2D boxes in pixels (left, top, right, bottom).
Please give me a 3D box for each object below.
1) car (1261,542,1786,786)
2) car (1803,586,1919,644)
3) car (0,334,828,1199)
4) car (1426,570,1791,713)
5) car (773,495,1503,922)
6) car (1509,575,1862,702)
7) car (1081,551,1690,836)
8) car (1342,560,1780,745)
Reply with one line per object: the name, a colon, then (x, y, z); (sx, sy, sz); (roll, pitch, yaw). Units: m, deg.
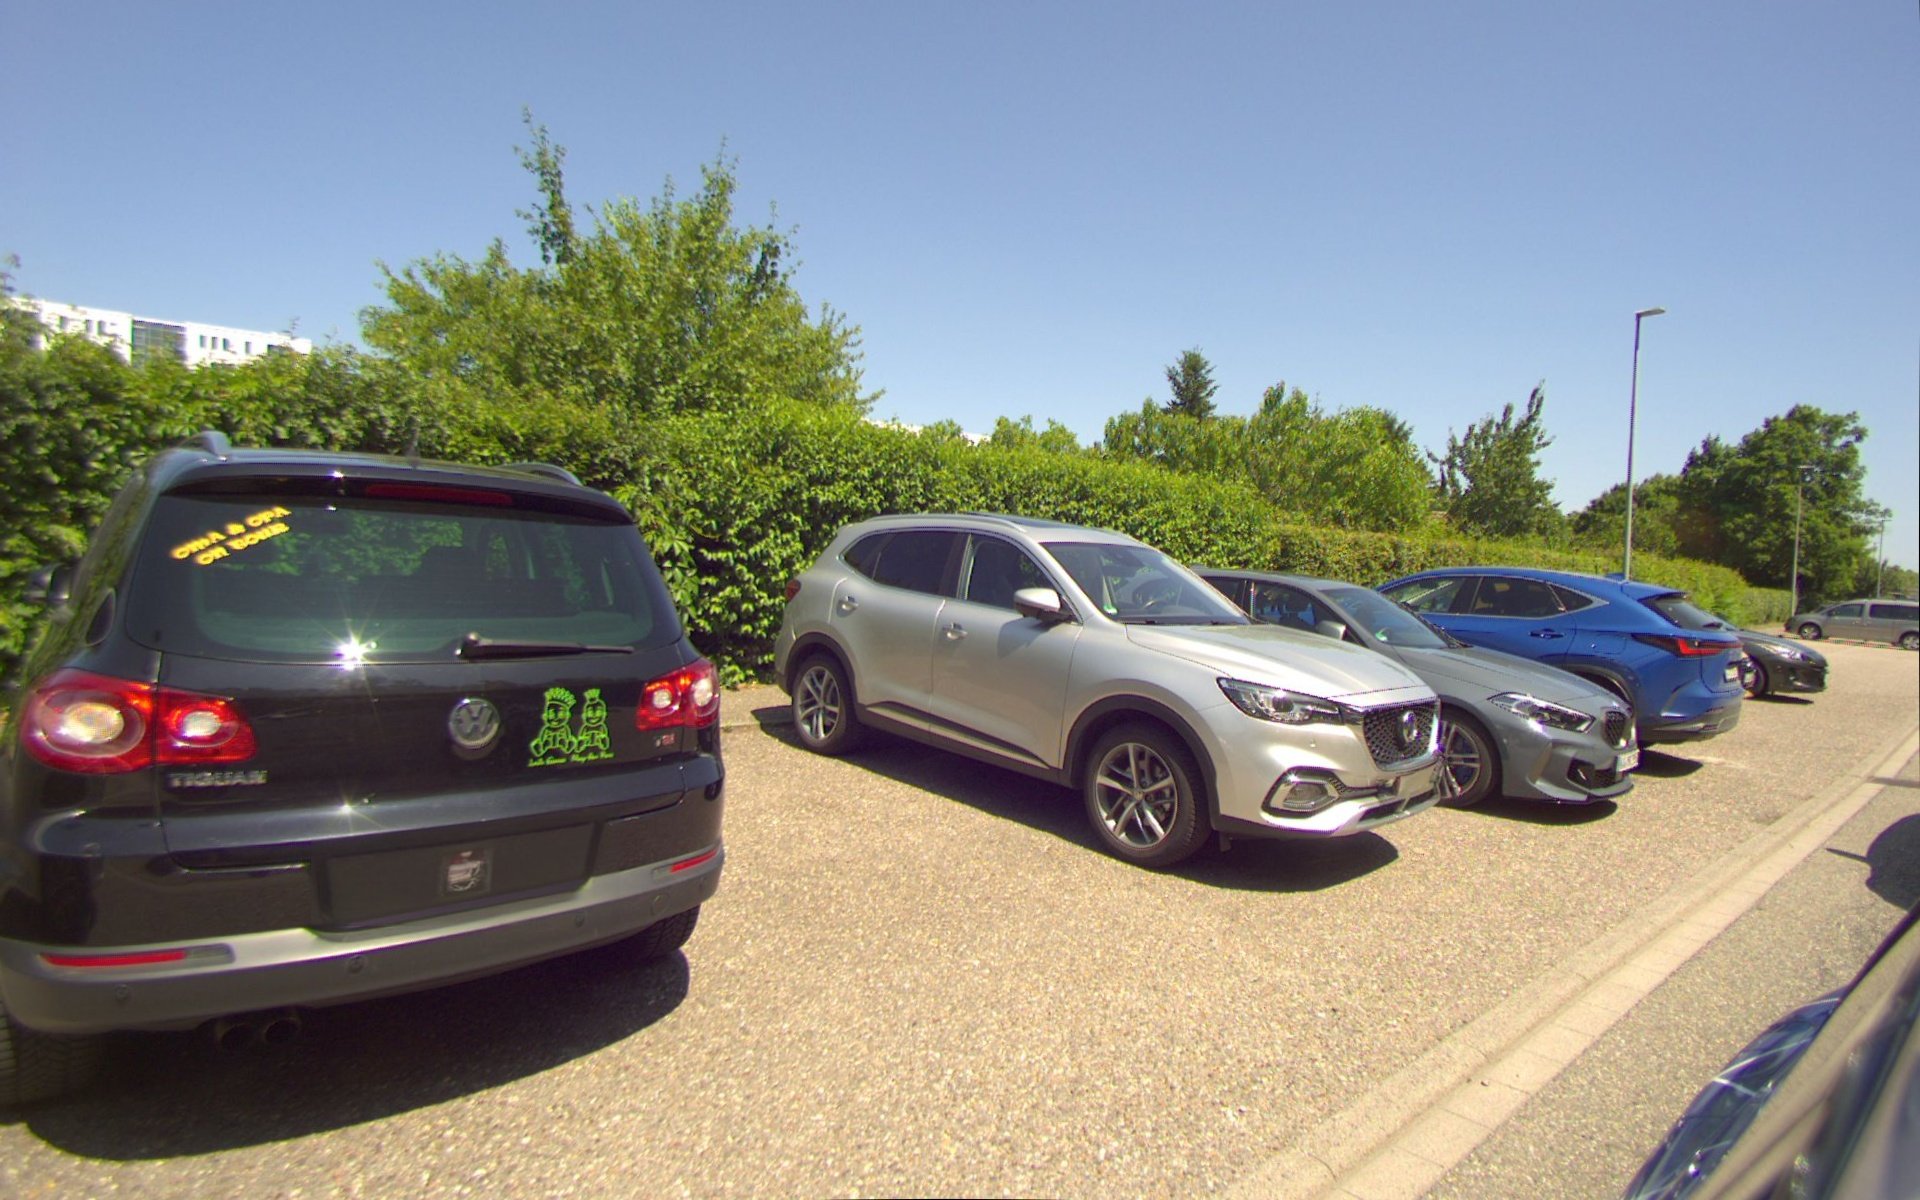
car: (5.196, 0.411, 9.821); (1.644, 1.661, 4.037); (1, 5, -40)
car: (35.494, 0.595, 38.925); (1.668, 1.872, 4.487); (1, 5, -44)
car: (-2.352, 0.242, 3.829); (1.735, 1.706, 3.983); (1, 4, -40)
car: (9.115, 0.471, 14.529); (1.620, 1.463, 4.037); (1, 5, -40)
car: (0.746, 0.294, 6.253); (1.746, 1.661, 4.168); (0, 5, -42)
car: (11.431, 0.507, 16.218); (1.620, 1.434, 4.253); (1, 5, -40)
car: (3.045, 0.478, 7.960); (1.650, 1.426, 4.036); (1, 5, -41)
car: (6.848, 0.456, 11.904); (1.620, 1.532, 4.037); (1, 5, -40)
